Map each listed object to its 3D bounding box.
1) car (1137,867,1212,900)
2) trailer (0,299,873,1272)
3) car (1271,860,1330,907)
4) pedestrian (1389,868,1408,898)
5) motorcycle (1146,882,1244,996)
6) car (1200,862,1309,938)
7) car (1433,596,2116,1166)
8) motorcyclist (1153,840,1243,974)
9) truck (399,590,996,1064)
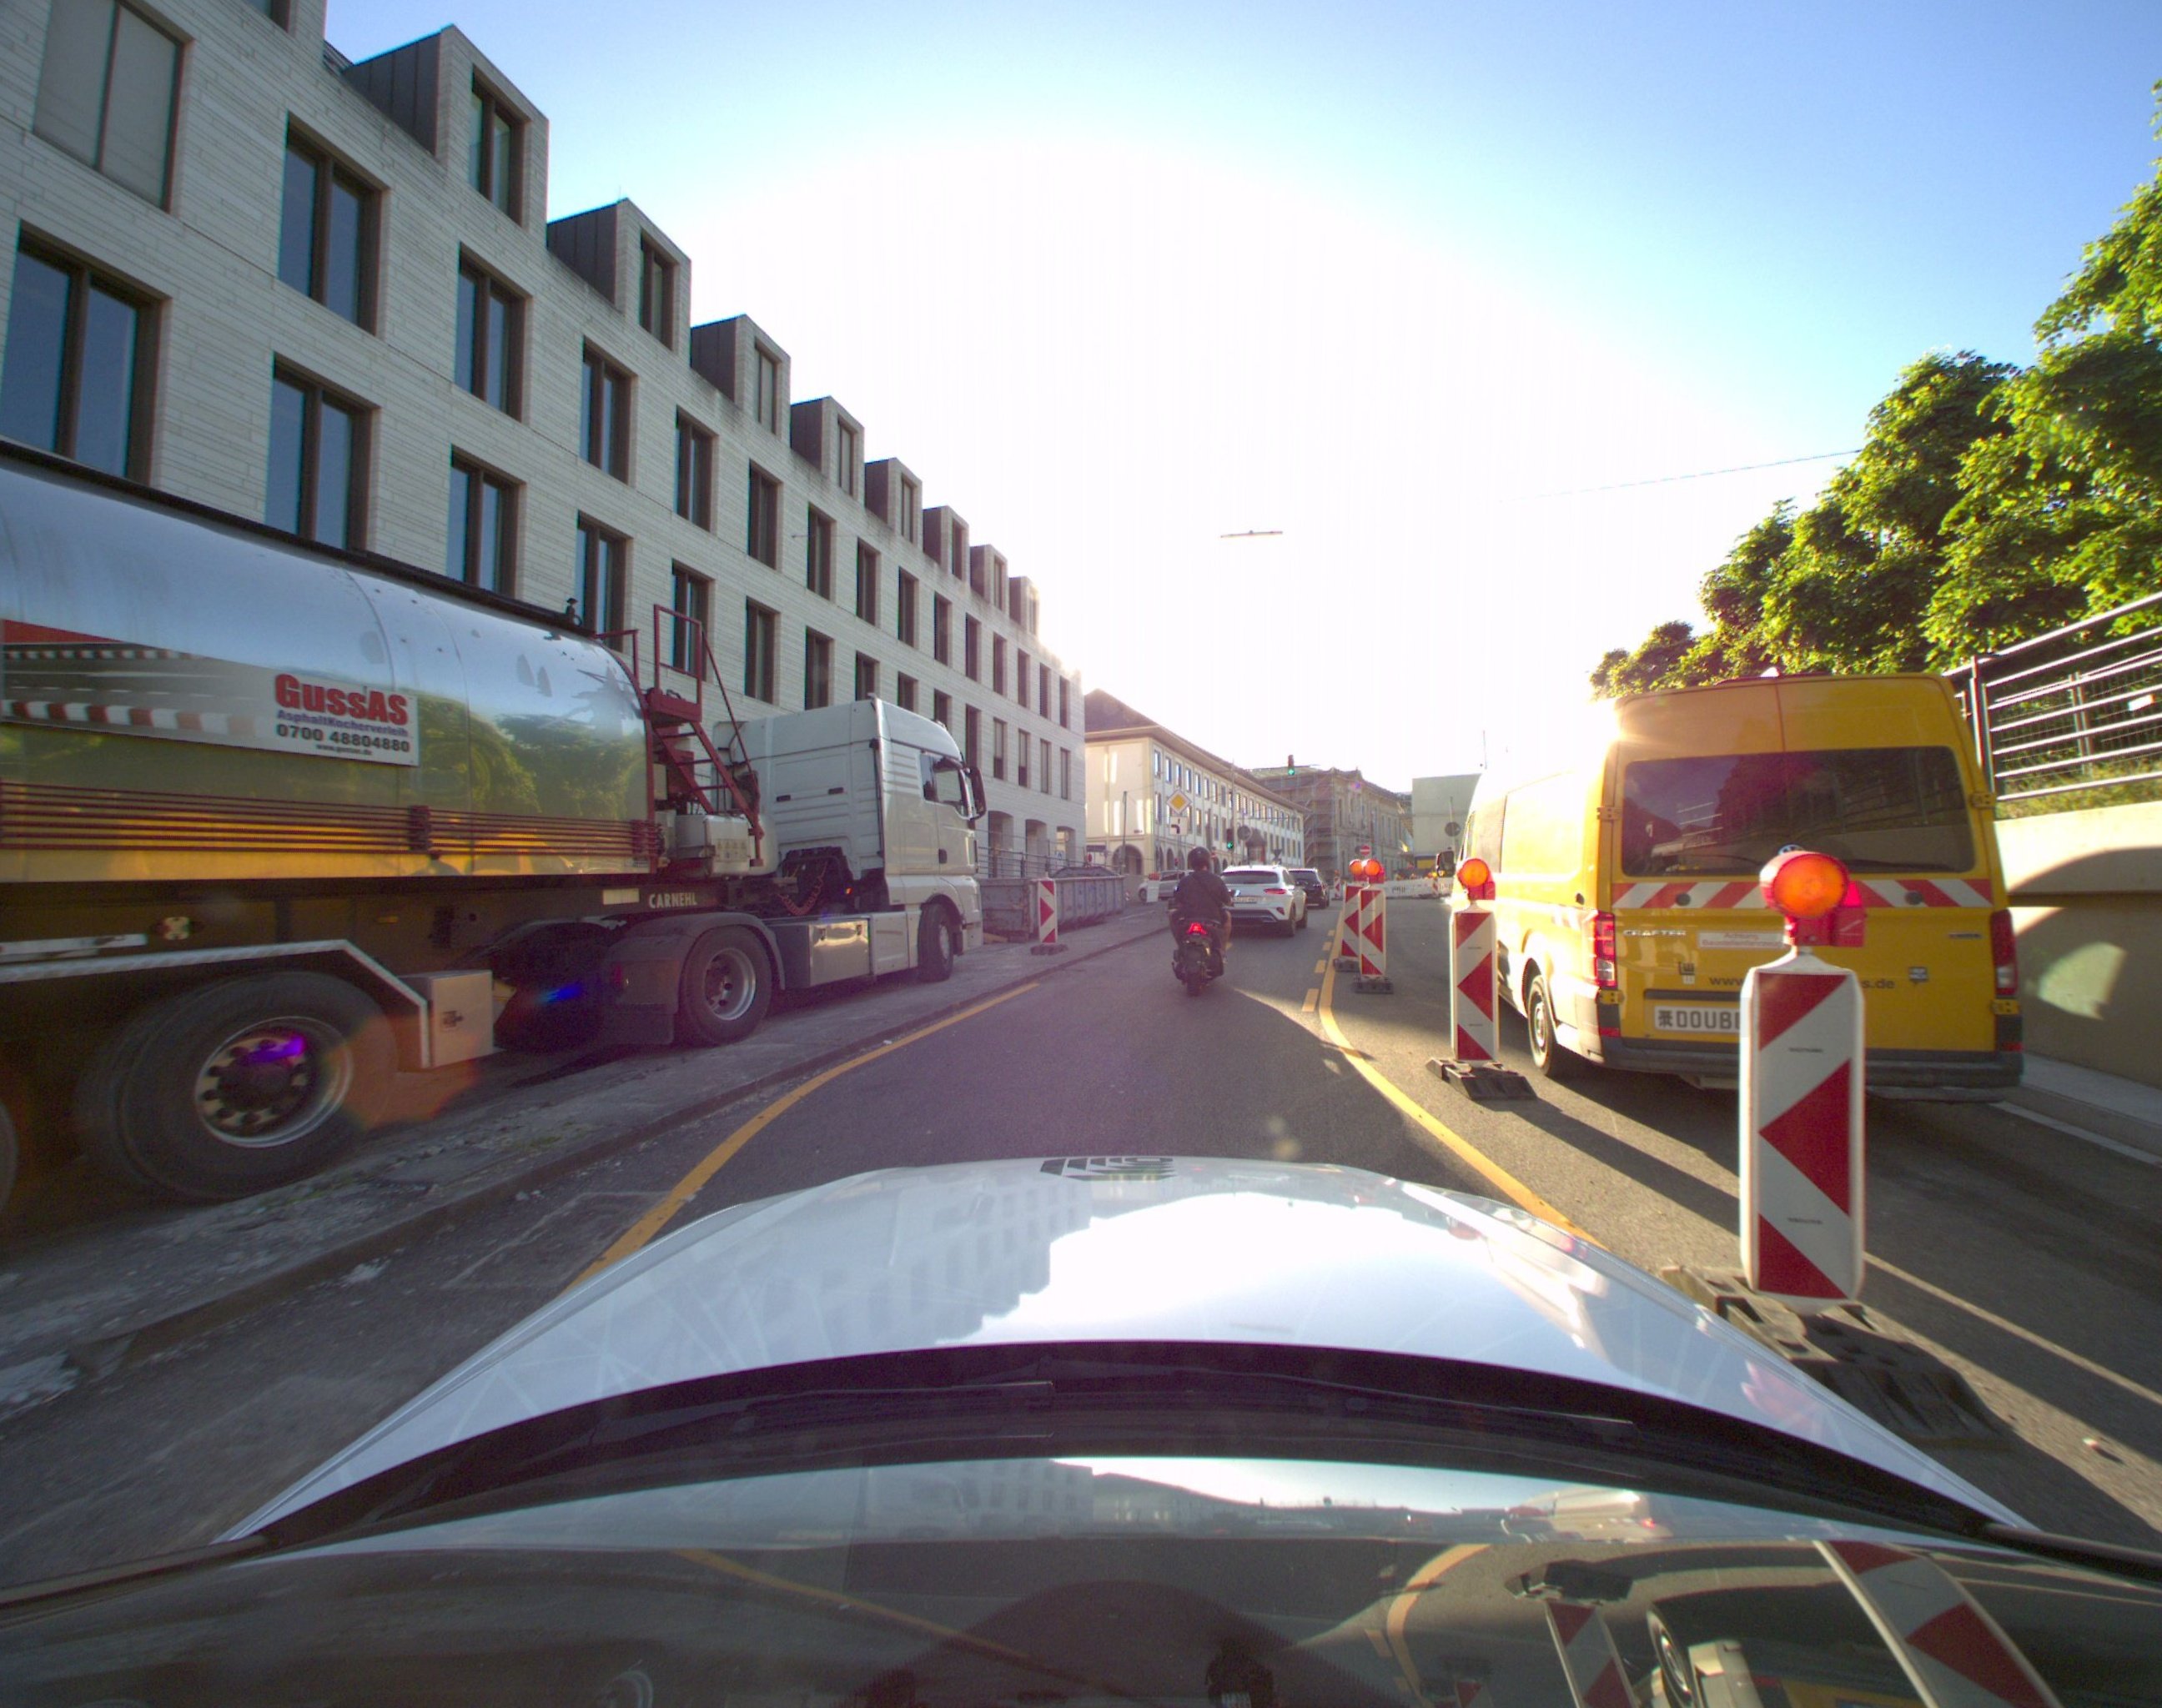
[{"bbox_3d":[5.168,1.636,45.417,1.817,1.721,4.116,-1,-1,-37],"label":"car"},{"bbox_3d":[-4.858,-0.181,4.853,2.622,3.669,8.785,-6,-2,16],"label":"trailer"},{"bbox_3d":[8.151,1.110,29.987,1.759,1.550,4.125,-2,-3,19],"label":"car"},{"bbox_3d":[19.310,1.783,49.568,0.966,1.729,0.802,-4,-5,22],"label":"pedestrian"},{"bbox_3d":[1.493,0.971,10.182,0.899,1.183,2.588,-2,-1,14],"label":"motorcycle"},{"bbox_3d":[3.946,0.913,18.040,1.844,1.472,4.019,-1,-1,19],"label":"car"},{"bbox_3d":[4.756,0.182,7.397,2.095,2.625,7.018,-2,-1,18],"label":"car"},{"bbox_3d":[1.486,0.639,10.176,0.947,1.560,1.243,-2,-1,14],"label":"motorcyclist"},{"bbox_3d":[-3.479,-0.108,9.197,2.559,3.490,5.843,-6,-2,18],"label":"truck"}]
